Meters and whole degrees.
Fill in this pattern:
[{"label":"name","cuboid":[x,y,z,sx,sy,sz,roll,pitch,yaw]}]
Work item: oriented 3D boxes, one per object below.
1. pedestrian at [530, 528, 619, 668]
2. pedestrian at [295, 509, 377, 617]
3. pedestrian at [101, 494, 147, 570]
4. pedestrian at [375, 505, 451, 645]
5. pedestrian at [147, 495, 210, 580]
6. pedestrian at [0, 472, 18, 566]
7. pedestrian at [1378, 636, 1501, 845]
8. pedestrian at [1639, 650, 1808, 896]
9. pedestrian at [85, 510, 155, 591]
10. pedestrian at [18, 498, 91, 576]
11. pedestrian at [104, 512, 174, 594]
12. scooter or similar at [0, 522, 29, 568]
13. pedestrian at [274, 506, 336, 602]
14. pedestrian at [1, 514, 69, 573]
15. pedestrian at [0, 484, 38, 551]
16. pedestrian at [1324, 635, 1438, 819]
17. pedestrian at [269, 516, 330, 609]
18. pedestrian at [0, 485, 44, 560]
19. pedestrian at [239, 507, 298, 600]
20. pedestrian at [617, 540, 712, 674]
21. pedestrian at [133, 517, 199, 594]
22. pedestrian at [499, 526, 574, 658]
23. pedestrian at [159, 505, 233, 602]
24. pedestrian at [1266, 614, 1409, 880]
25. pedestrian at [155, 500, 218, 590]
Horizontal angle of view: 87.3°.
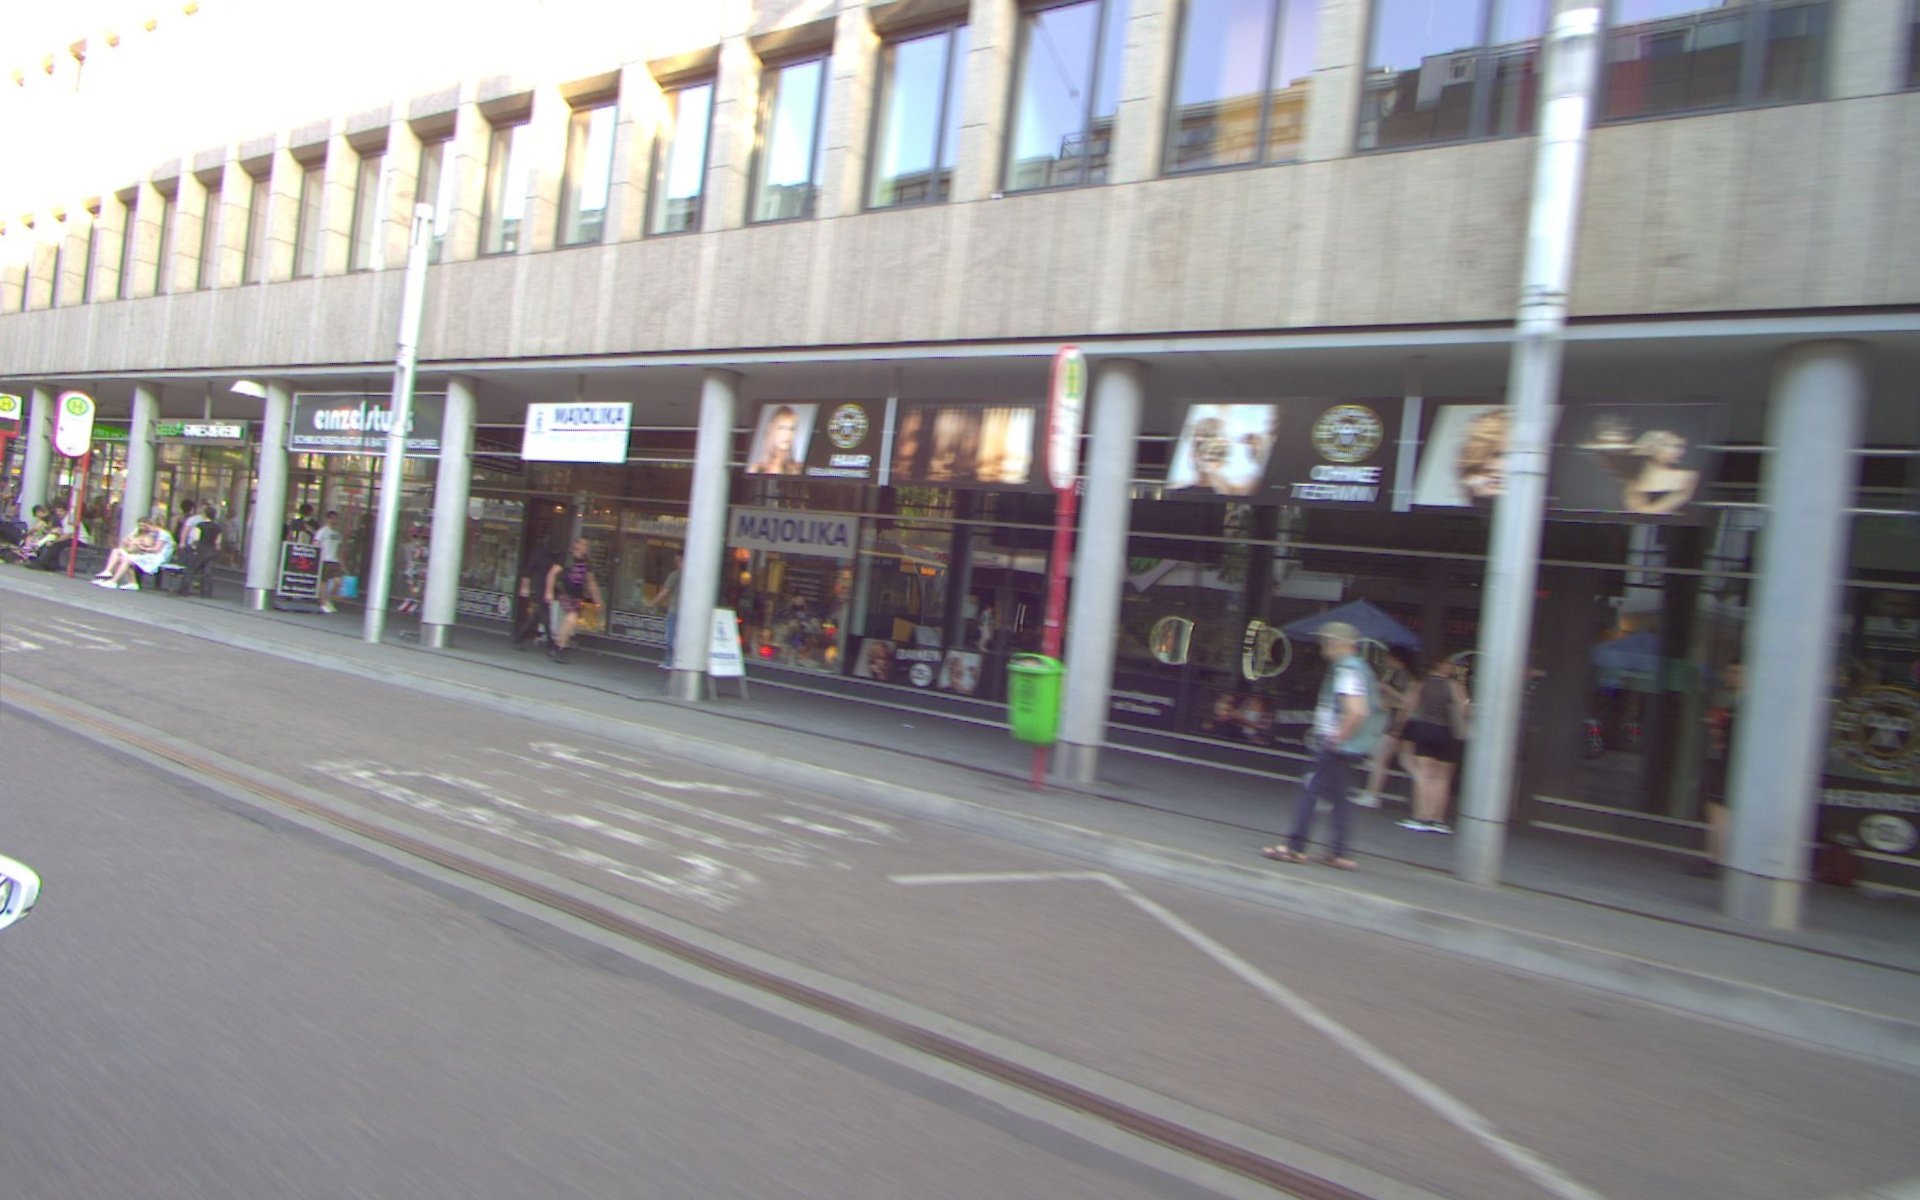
[{"label":"pedestrian","cuboid":[-5.554,-0.026,14.515,0.783,1.913,0.707,6,1,31]},{"label":"pedestrian","cuboid":[-11.314,-0.666,18.252,0.844,1.820,0.845,6,1,31]},{"label":"pedestrian","cuboid":[-20.353,-1.645,24.495,0.607,1.753,0.571,7,1,29]},{"label":"pedestrian","cuboid":[-8.018,-0.356,14.761,0.644,1.968,0.578,6,1,30]},{"label":"pedestrian","cuboid":[-17.722,-1.411,22.820,0.761,1.794,0.774,6,1,29]},{"label":"pedestrian","cuboid":[-19.516,-1.664,20.186,0.657,1.863,0.640,7,1,31]},{"label":"pedestrian","cuboid":[4.220,1.199,8.848,0.775,1.665,0.681,6,1,29]},{"label":"pedestrian","cuboid":[6.174,1.357,8.192,0.849,1.794,0.674,6,1,30]},{"label":"pedestrian","cuboid":[-15.052,-0.878,18.039,0.523,1.330,0.719,6,-1,32]},{"label":"pedestrian","cuboid":[-17.908,-1.244,19.900,0.651,1.397,0.814,6,-1,32]},{"label":"pedestrian","cuboid":[-14.558,-0.821,17.849,0.516,1.330,0.719,6,-1,32]},{"label":"scooter or similar","cuboid":[-20.146,-1.193,21.075,0.678,0.894,0.832,6,-2,44]},{"label":"pedestrian","cuboid":[-13.718,-0.954,21.074,0.760,1.906,0.688,7,1,29]},{"label":"pedestrian","cuboid":[-18.683,-1.140,20.332,0.535,1.055,0.814,6,-1,32]},{"label":"pedestrian","cuboid":[-27.149,-2.362,28.914,0.707,1.809,0.663,6,1,31]},{"label":"pedestrian","cuboid":[4.191,1.226,9.999,0.805,1.665,0.711,6,1,29]},{"label":"pedestrian","cuboid":[-12.758,-0.716,19.442,0.669,1.682,0.648,7,1,32]},{"label":"pedestrian","cuboid":[-22.668,-1.862,24.232,0.639,1.682,0.648,7,1,31]},{"label":"pedestrian","cuboid":[-14.112,-0.944,20.534,0.760,1.775,0.583,7,1,29]},{"label":"pedestrian","cuboid":[-4.500,0.113,15.320,0.884,1.913,0.845,6,1,31]},{"label":"pedestrian","cuboid":[-14.778,-0.821,18.736,0.523,1.330,0.719,6,-1,32]},{"label":"pedestrian","cuboid":[-6.462,-0.116,15.361,0.672,1.913,0.616,6,1,32]},{"label":"pedestrian","cuboid":[-13.468,-0.819,17.737,0.724,1.590,0.725,6,1,32]},{"label":"pedestrian","cuboid":[2.531,0.950,6.710,0.627,1.606,0.670,7,-1,30]},{"label":"pedestrian","cuboid":[-15.328,-1.089,19.938,0.710,1.682,0.688,6,1,32]}]
